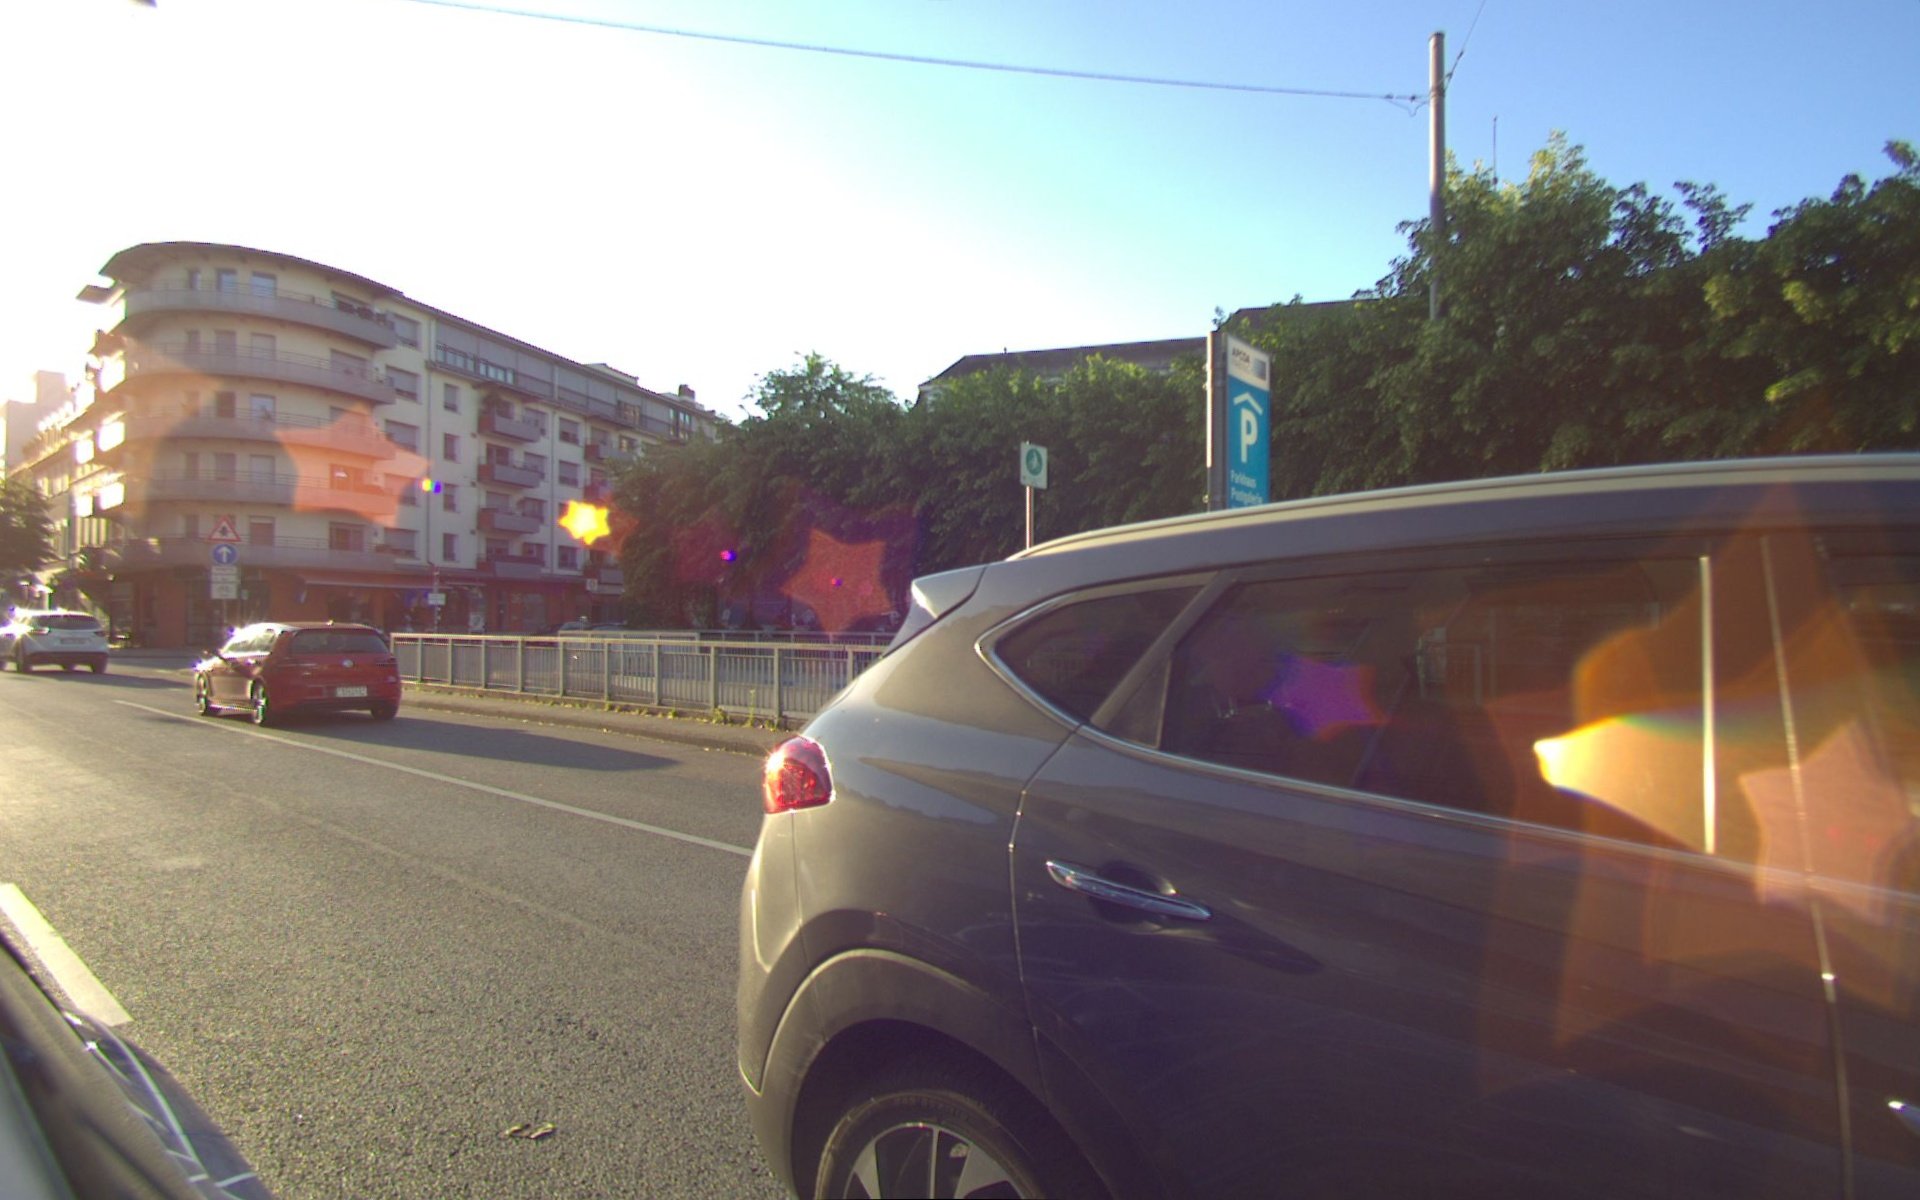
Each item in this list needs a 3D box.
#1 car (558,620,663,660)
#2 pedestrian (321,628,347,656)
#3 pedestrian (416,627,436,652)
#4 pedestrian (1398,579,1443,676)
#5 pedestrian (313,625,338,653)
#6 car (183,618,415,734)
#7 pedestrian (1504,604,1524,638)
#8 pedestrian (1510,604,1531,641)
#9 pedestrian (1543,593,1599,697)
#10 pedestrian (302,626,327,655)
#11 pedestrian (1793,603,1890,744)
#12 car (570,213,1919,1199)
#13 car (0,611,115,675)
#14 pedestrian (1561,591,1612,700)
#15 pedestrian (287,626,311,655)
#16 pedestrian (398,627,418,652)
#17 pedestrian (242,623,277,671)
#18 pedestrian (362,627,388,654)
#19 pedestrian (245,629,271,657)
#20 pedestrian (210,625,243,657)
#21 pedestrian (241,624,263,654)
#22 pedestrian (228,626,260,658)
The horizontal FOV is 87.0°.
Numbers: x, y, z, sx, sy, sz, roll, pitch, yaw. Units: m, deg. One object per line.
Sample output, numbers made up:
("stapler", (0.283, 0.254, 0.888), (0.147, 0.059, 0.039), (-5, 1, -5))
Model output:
("car", (-15.340, 1.737, 44.504), (3.958, 1.664, 1.993), (-1, -1, 12))
("pedestrian", (-29.834, 2.004, 48.237), (0.884, 1.332, 0.726), (-1, -1, 27))
("pedestrian", (-28.317, 2.088, 53.701), (0.721, 1.332, 0.891), (0, -1, -11))
("pedestrian", (9.914, 0.588, 21.803), (0.733, 2.029, 0.901), (-1, -1, 17))
("pedestrian", (-30.745, 1.906, 49.041), (0.814, 1.332, 0.684), (-1, -1, 17))
("car", (-9.962, 1.036, 15.162), (3.953, 1.477, 1.768), (0, -2, 39))
("pedestrian", (22.495, 0.852, 41.100), (0.651, 1.386, 0.515), (-1, -1, 26))
("pedestrian", (21.324, 0.867, 38.530), (0.651, 1.386, 0.515), (-1, -1, 26))
("pedestrian", (12.323, 0.893, 20.443), (0.733, 2.029, 0.901), (-1, -1, 17))
("pedestrian", (-30.296, 1.900, 47.510), (0.887, 1.332, 0.723), (-1, -1, 38))
("pedestrian", (13.227, 1.074, 15.196), (0.890, 2.029, 0.742), (0, -1, -22))
("car", (1.501, 0.560, 1.385), (4.445, 1.702, 1.854), (-1, -2, 39))
("car", (-25.228, 1.203, 27.942), (4.169, 1.644, 1.856), (-2, -4, 35))
("pedestrian", (11.996, 0.849, 19.396), (0.736, 2.029, 0.897), (-1, -1, 29))
("pedestrian", (-30.630, 1.879, 46.905), (0.888, 1.332, 0.723), (-1, -1, 39))
("pedestrian", (-29.207, 2.086, 53.557), (0.721, 1.332, 0.891), (0, -1, -11))
("pedestrian", (-22.671, 1.511, 32.746), (0.668, 1.529, 0.677), (-1, -1, -2))
("pedestrian", (-29.149, 2.026, 50.431), (0.884, 1.332, 0.727), (-1, -1, 25))
("pedestrian", (-31.051, 1.883, 44.758), (0.875, 1.201, 0.734), (0, -1, -40))
("pedestrian", (-31.729, 1.759, 43.786), (0.726, 1.332, 0.885), (-1, -1, 13))
("pedestrian", (-31.842, 1.763, 45.512), (0.610, 1.332, 0.669), (-1, -1, 39))
("pedestrian", (-30.827, 1.797, 43.588), (0.725, 1.332, 0.886), (-1, -1, 9))
